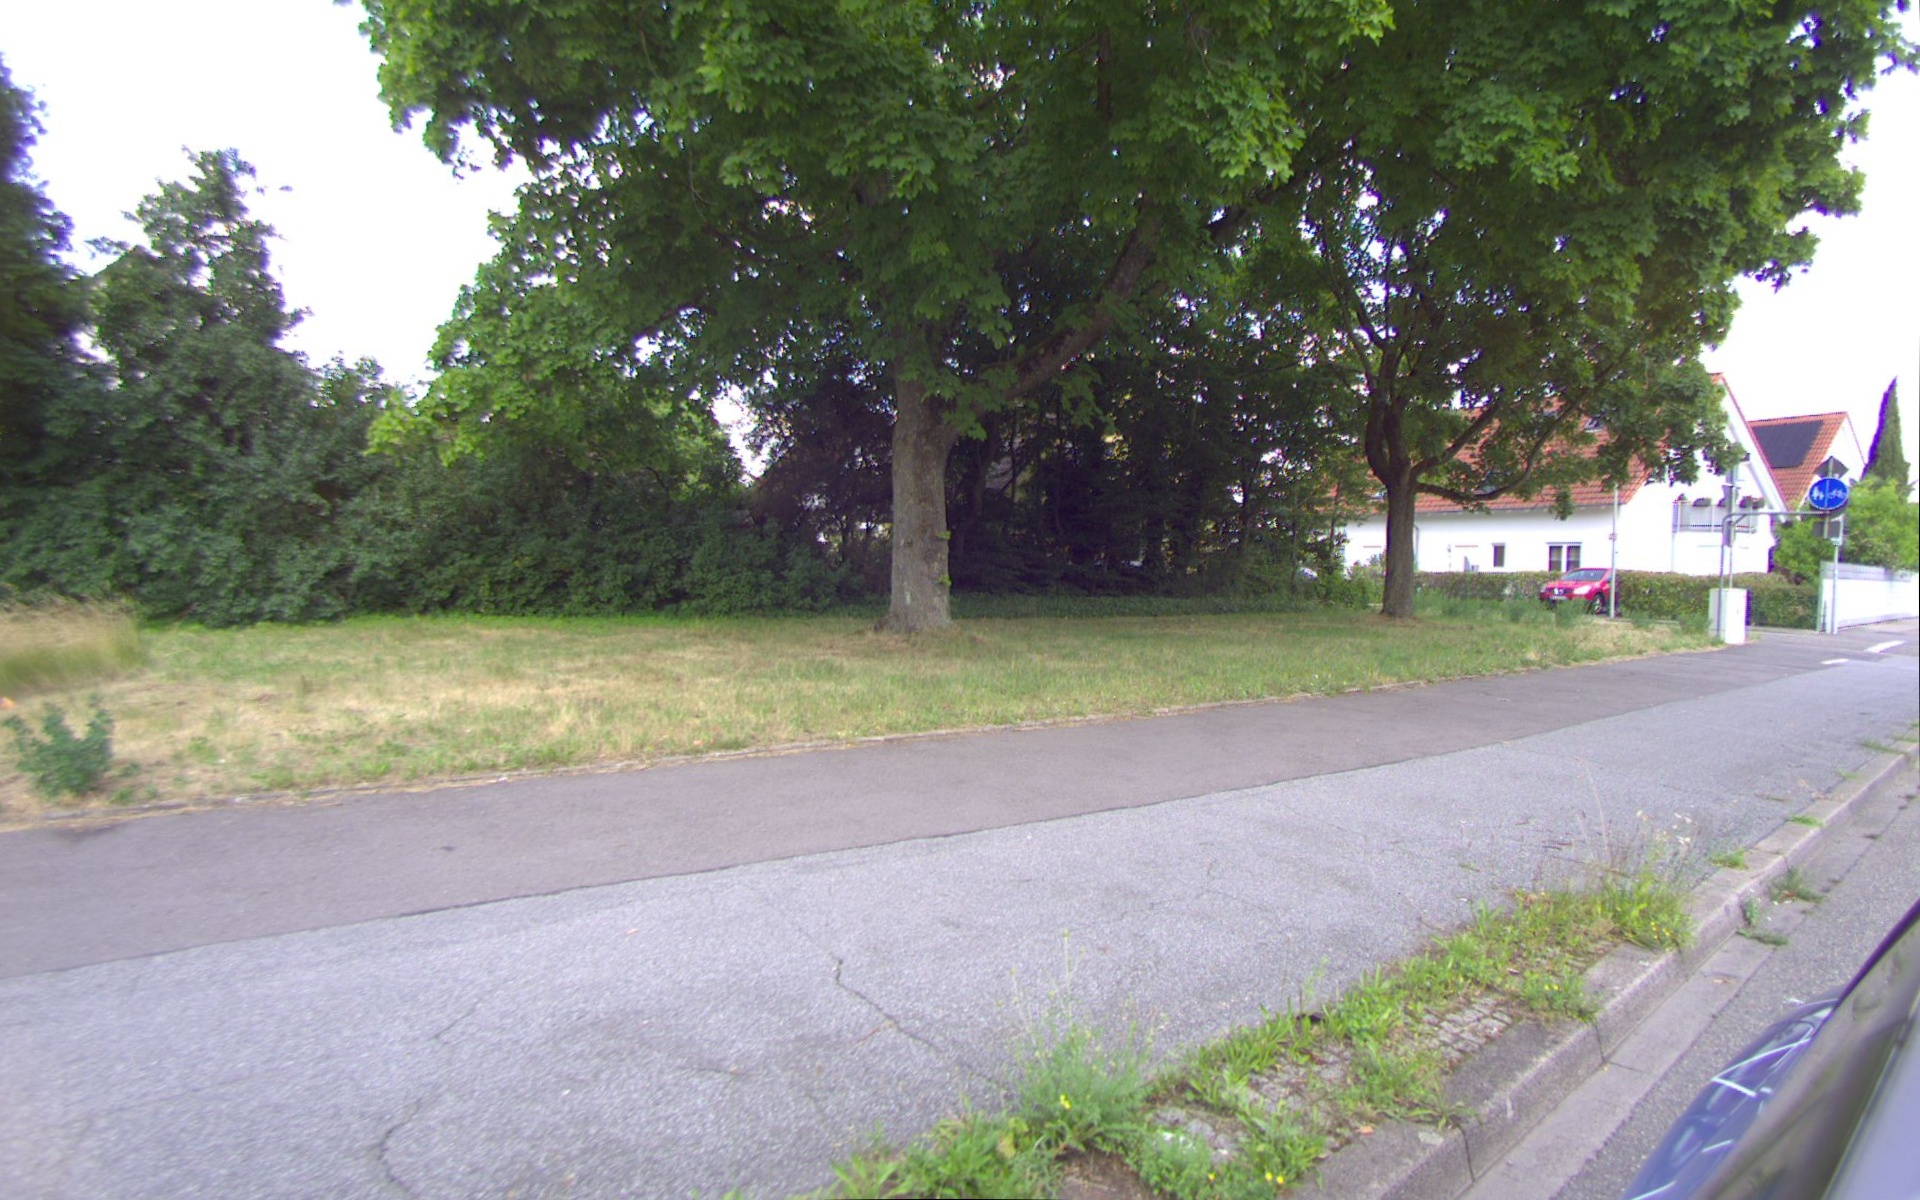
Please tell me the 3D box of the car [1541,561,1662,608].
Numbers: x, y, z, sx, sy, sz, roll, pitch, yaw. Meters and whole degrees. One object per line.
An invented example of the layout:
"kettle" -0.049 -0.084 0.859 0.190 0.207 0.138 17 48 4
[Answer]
"car" 22.133 -0.528 34.887 4.305 1.549 1.684 0 2 -30
